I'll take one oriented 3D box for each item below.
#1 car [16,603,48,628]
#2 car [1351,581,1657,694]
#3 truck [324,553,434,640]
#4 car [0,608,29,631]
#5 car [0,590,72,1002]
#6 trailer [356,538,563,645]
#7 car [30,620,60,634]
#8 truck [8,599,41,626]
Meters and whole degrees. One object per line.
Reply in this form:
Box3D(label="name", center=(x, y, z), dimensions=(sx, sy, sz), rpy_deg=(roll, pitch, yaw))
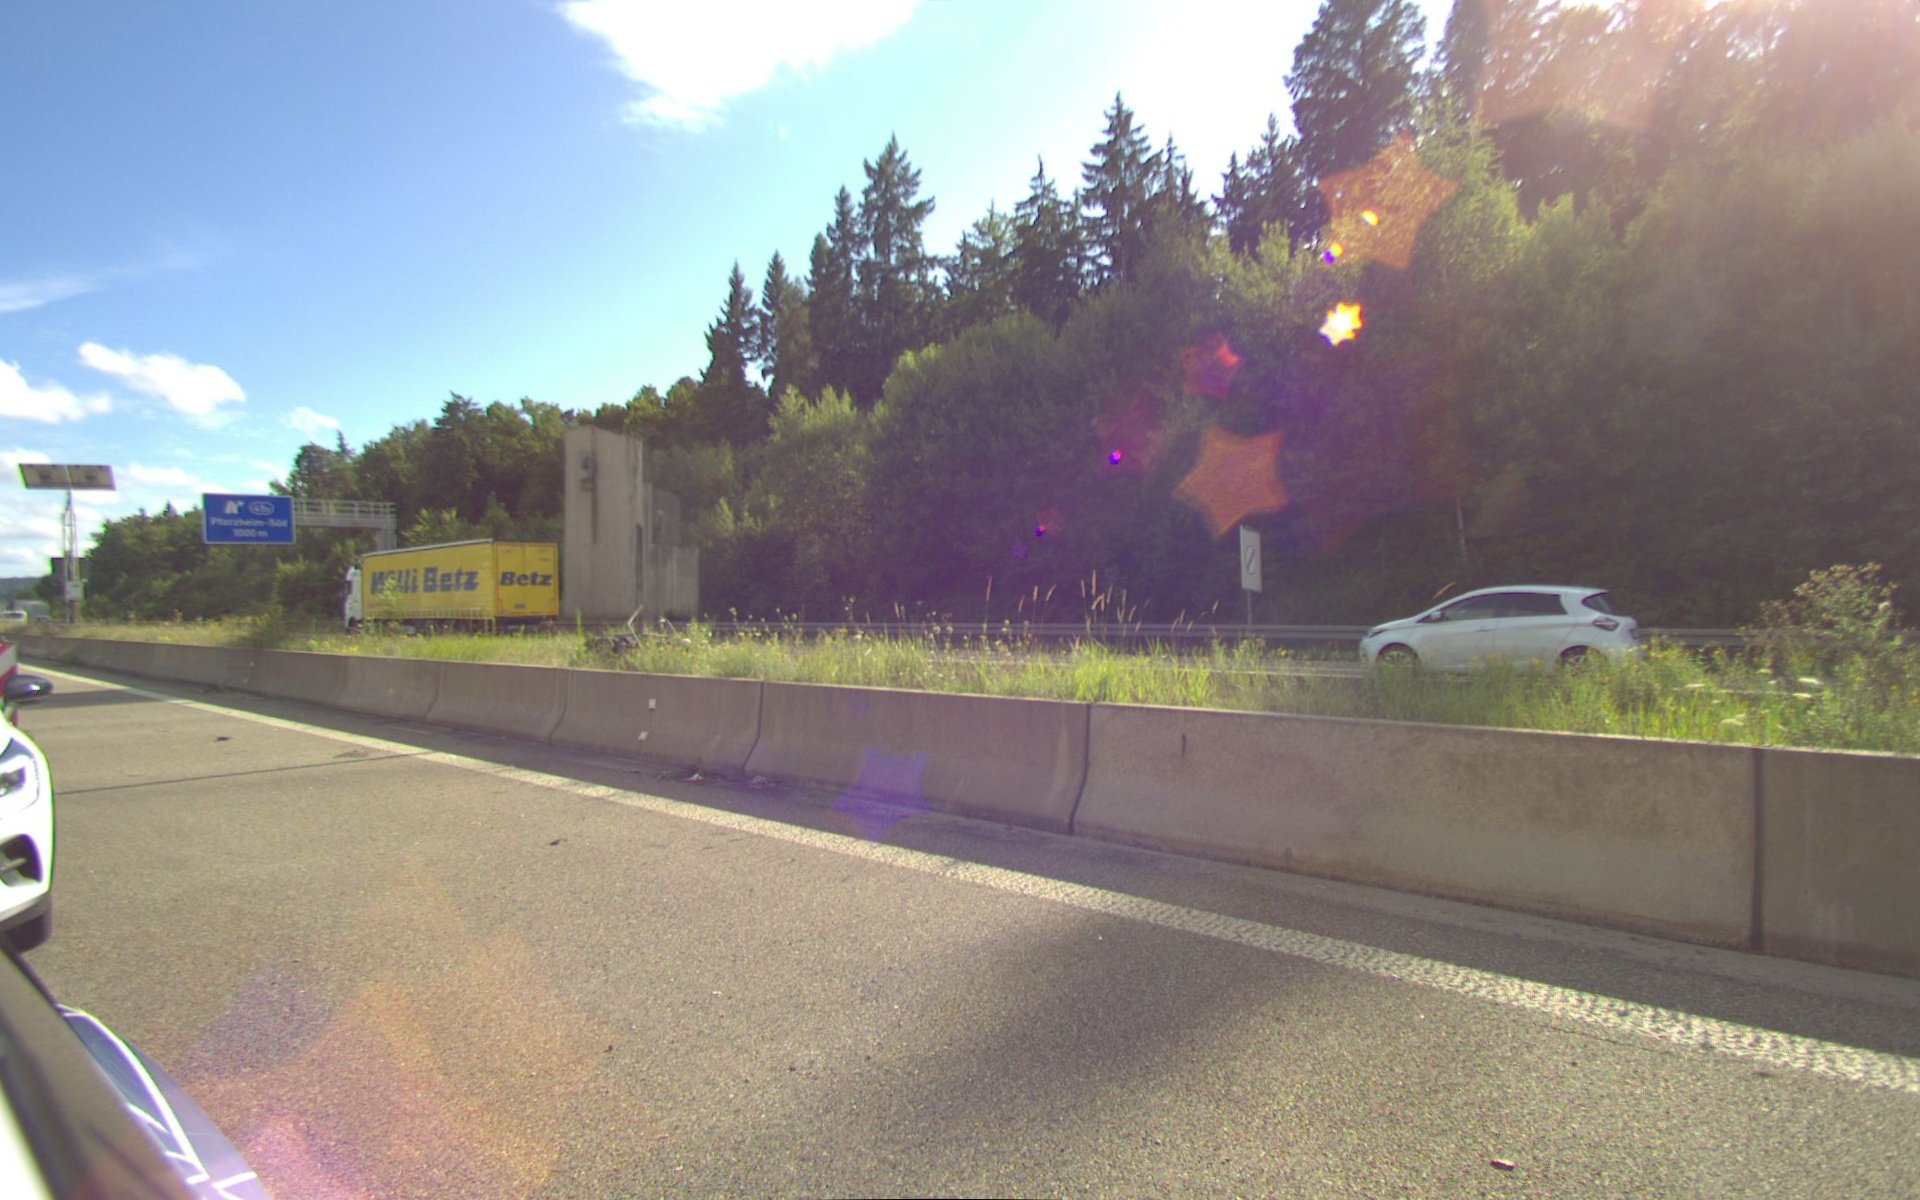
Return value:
Box3D(label="car", center=(-130.668, 2.163, 142.518), dimensions=(7.448, 3.395, 2.461), rpy_deg=(-1, 0, 41))
Box3D(label="car", center=(8.526, 0.526, 16.044), dimensions=(3.998, 1.572, 1.768), rpy_deg=(-1, 0, 41))
Box3D(label="truck", center=(-27.995, -0.155, 48.643), dimensions=(5.946, 3.938, 2.797), rpy_deg=(-1, 0, 41))
Box3D(label="car", center=(-88.327, 1.794, 94.167), dimensions=(4.829, 2.029, 1.973), rpy_deg=(-1, 0, 41))
Box3D(label="car", center=(-5.533, 0.762, 4.554), dimensions=(3.881, 1.549, 1.817), rpy_deg=(-1, 0, 41))
Box3D(label="trailer", center=(-21.648, -0.278, 43.022), dimensions=(13.934, 3.952, 2.798), rpy_deg=(-1, 0, 41))
Box3D(label="car", center=(-97.098, 2.840, 107.375), dimensions=(4.286, 1.373, 1.938), rpy_deg=(-1, 0, 41))
Box3D(label="truck", center=(-145.082, 1.937, 156.857), dimensions=(10.181, 4.022, 2.771), rpy_deg=(-1, -1, 41))
